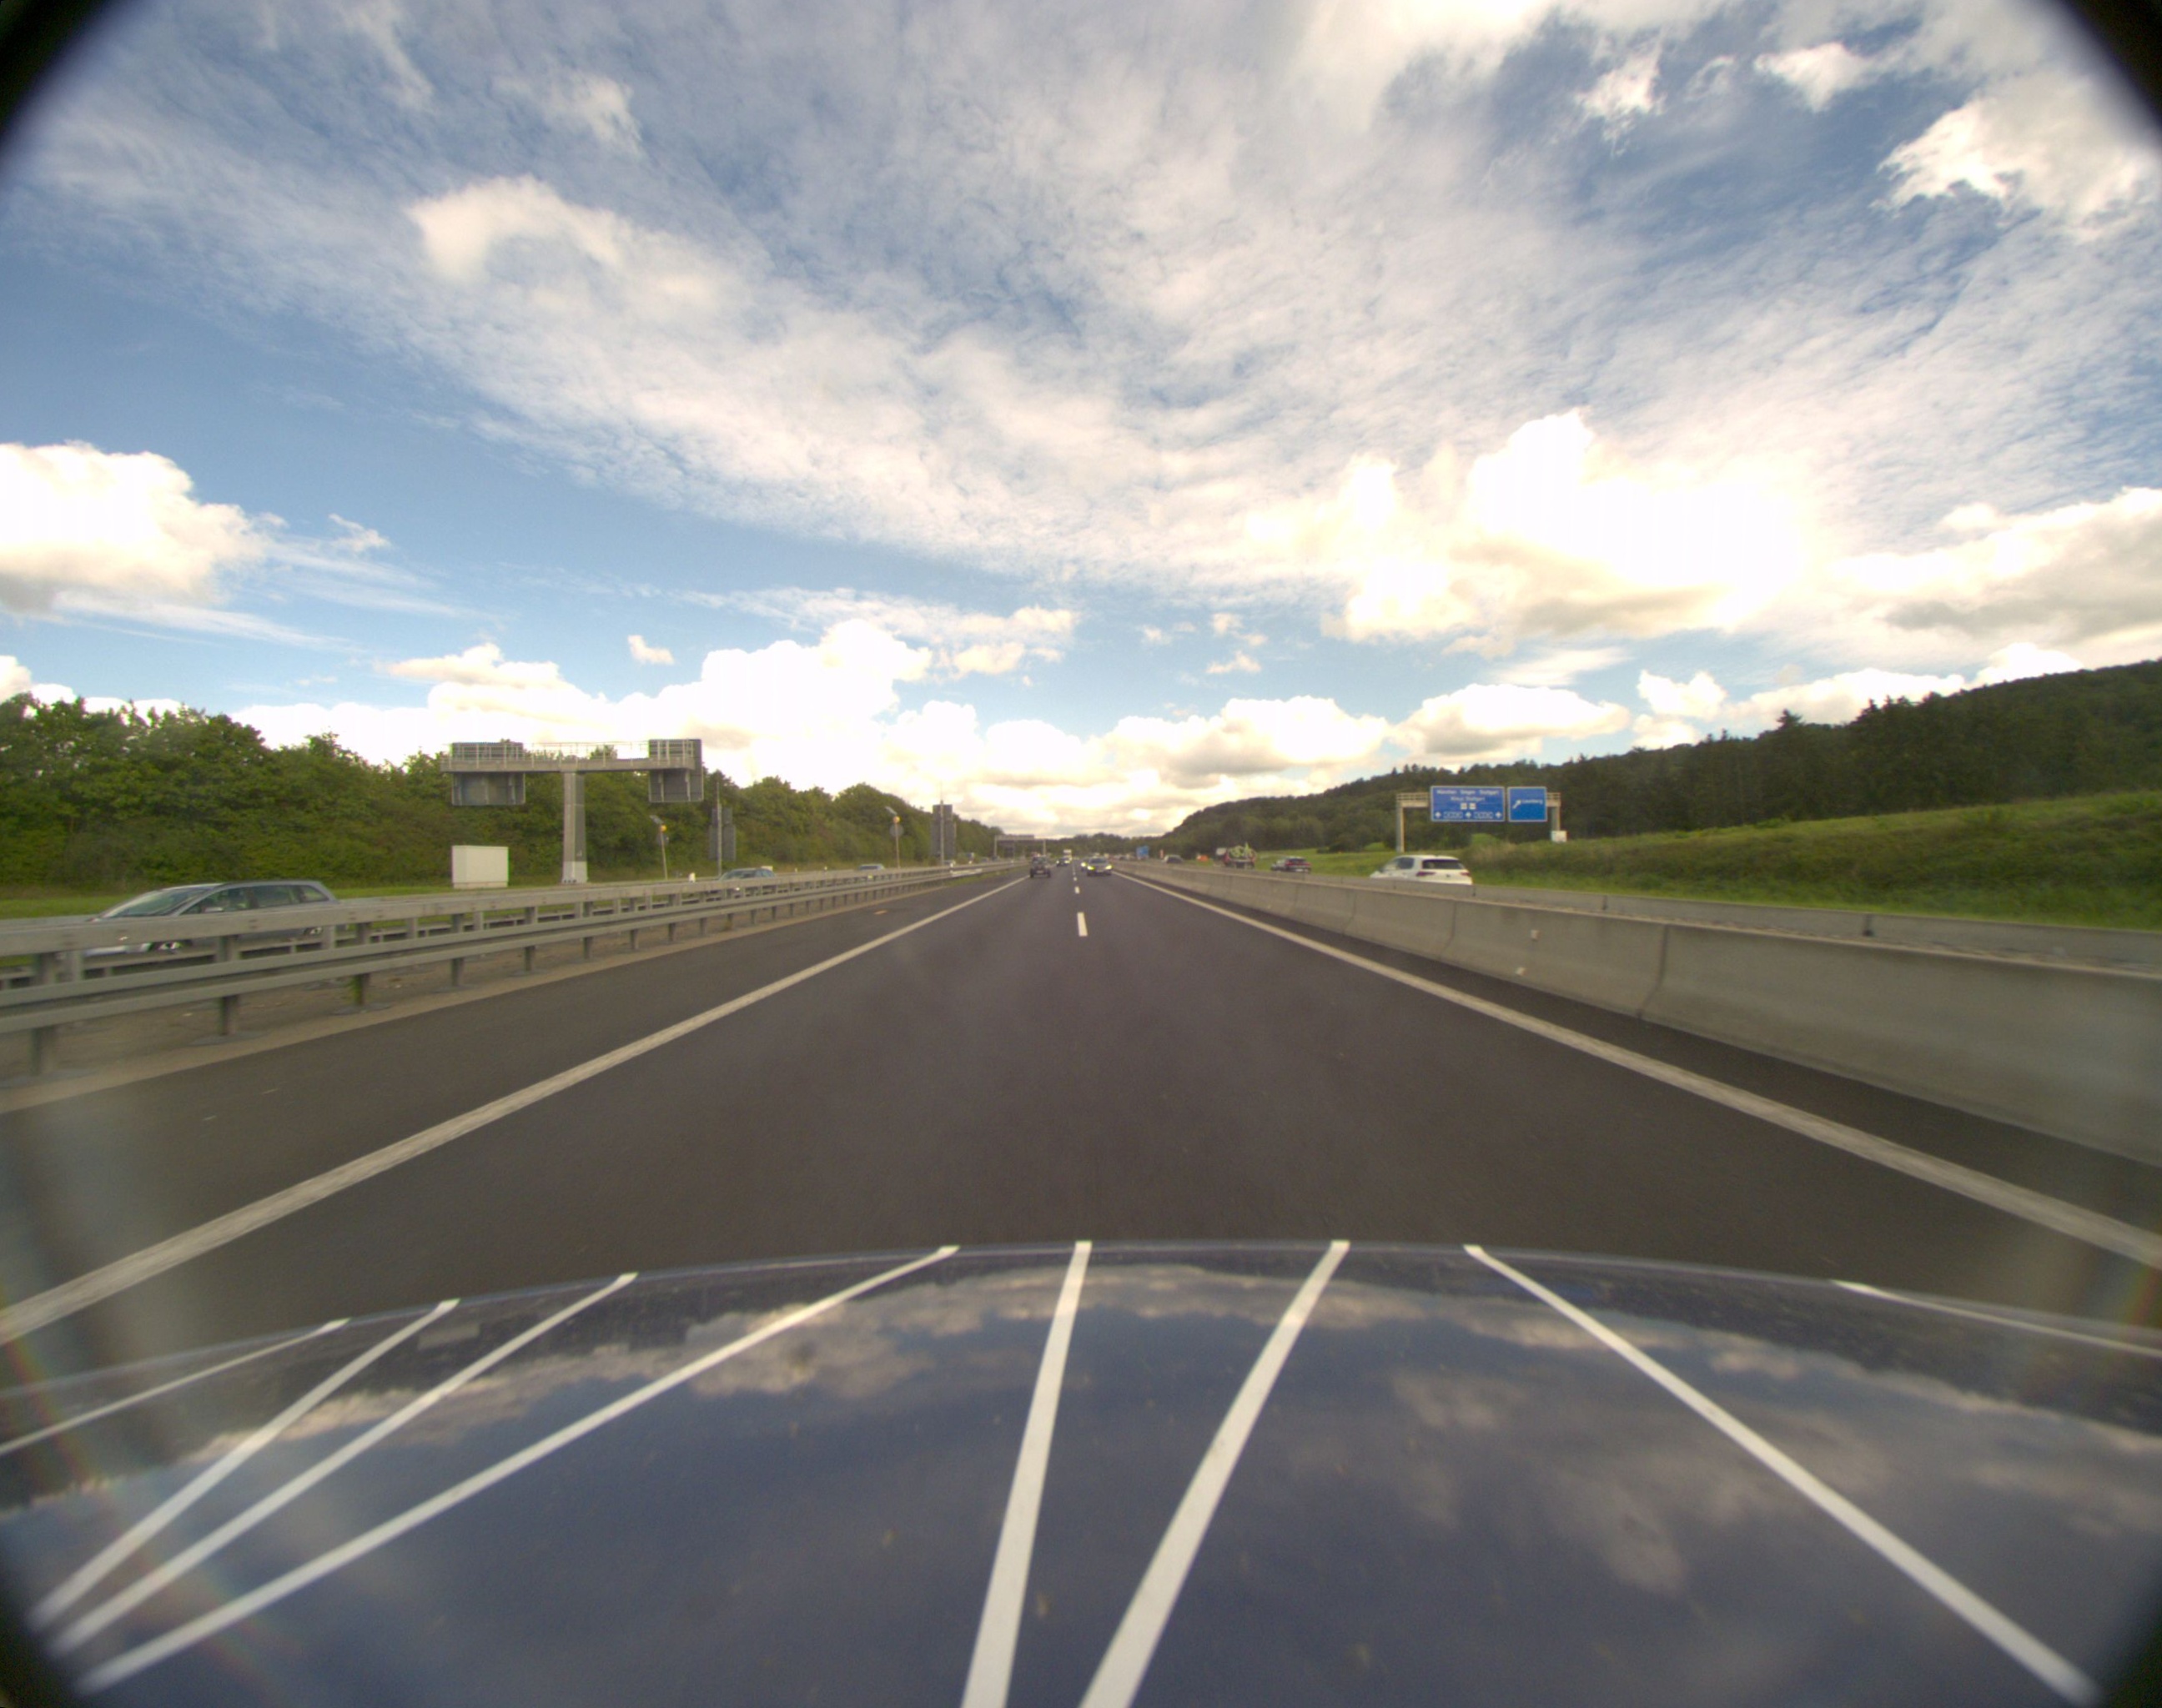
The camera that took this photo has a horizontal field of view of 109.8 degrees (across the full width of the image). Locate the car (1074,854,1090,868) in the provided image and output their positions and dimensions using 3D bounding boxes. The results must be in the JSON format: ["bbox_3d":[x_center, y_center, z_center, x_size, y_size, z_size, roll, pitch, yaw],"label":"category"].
[{"bbox_3d":[0.136,0.754,82.824,1.724,1.406,3.938,-1,0,1],"label":"car"}]

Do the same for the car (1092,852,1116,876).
[{"bbox_3d":[1.705,0.739,57.454,1.724,1.722,3.938,-1,0,1],"label":"car"}]

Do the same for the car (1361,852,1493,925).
[{"bbox_3d":[10.587,0.974,23.704,1.998,2.002,4.677,-1,0,0],"label":"car"}]

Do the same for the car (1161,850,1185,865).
[{"bbox_3d":[9.911,0.353,82.049,1.998,1.564,5.364,0,0,1],"label":"car"}]

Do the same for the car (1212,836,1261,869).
[{"bbox_3d":[9.834,-0.115,48.527,1.998,2.002,5.840,0,0,1],"label":"car"}]

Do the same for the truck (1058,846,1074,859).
[{"bbox_3d":[-4.953,-0.590,258.321,4.948,4.306,14.629,0,0,1],"label":"truck"}]

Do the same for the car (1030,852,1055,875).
[{"bbox_3d":[-3.003,0.704,60.108,1.670,1.722,4.207,-1,0,1],"label":"car"}]

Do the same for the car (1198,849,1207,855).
[{"bbox_3d":[39.646,-0.629,248.387,1.999,2.002,3.998,0,1,-4],"label":"car"}]

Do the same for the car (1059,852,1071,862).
[{"bbox_3d":[-2.680,0.552,129.908,1.998,1.591,4.000,0,0,1],"label":"car"}]

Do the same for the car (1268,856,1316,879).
[{"bbox_3d":[14.322,0.867,51.925,1.998,1.470,4.691,0,0,1],"label":"car"}]

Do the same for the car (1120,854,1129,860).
[{"bbox_3d":[9.263,0.635,161.958,1.792,1.390,4.622,0,0,0],"label":"car"}]

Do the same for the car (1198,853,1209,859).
[{"bbox_3d":[33.145,0.623,206.267,1.778,1.539,4.887,0,0,-6],"label":"car"}]

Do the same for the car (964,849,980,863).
[{"bbox_3d":[-18.673,0.332,130.177,1.999,2.173,5.127,-1,0,-1],"label":"car"}]

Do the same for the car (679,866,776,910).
[{"bbox_3d":[-13.846,1.280,30.031,1.999,1.476,3.999,-1,0,-1],"label":"car"}]

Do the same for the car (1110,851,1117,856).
[{"bbox_3d":[8.880,-0.110,207.175,1.792,1.390,4.798,0,0,0],"label":"car"}]

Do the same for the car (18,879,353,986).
[{"bbox_3d":[-17.562,1.435,15.280,1.999,1.698,3.999,0,0,0],"label":"car"}]
